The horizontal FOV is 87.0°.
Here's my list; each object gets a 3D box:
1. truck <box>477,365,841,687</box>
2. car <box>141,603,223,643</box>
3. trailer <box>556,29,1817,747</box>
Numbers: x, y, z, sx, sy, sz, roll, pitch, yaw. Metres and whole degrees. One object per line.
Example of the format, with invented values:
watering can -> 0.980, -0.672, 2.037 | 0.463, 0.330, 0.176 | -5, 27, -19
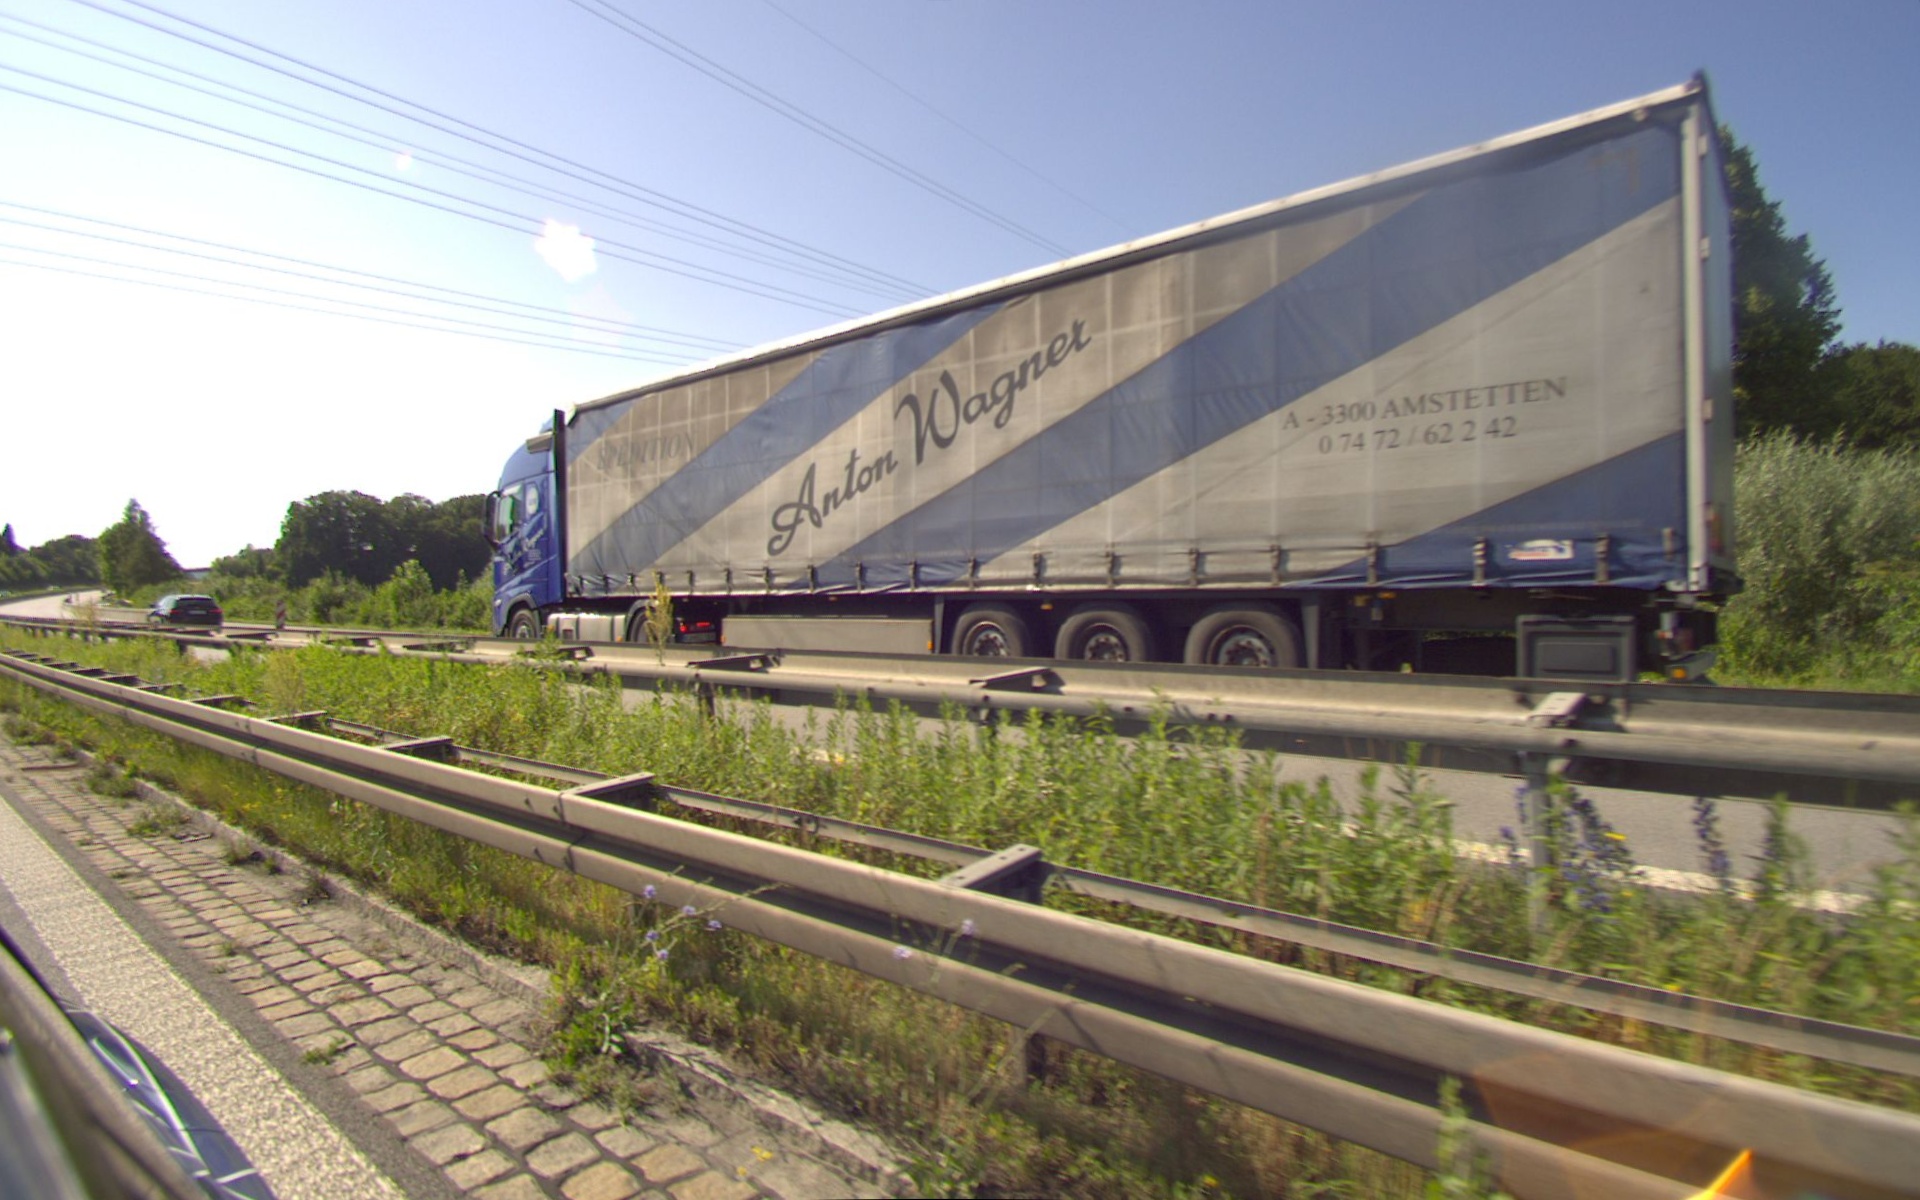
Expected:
truck -> -4.774, -0.909, 15.491 | 5.840, 3.989, 2.605 | -1, 0, 41
car -> -29.759, 0.843, 38.685 | 4.268, 1.440, 1.758 | -1, -1, 42
trailer -> 0.299, -1.046, 11.094 | 13.759, 3.984, 2.652 | -2, -1, 40
